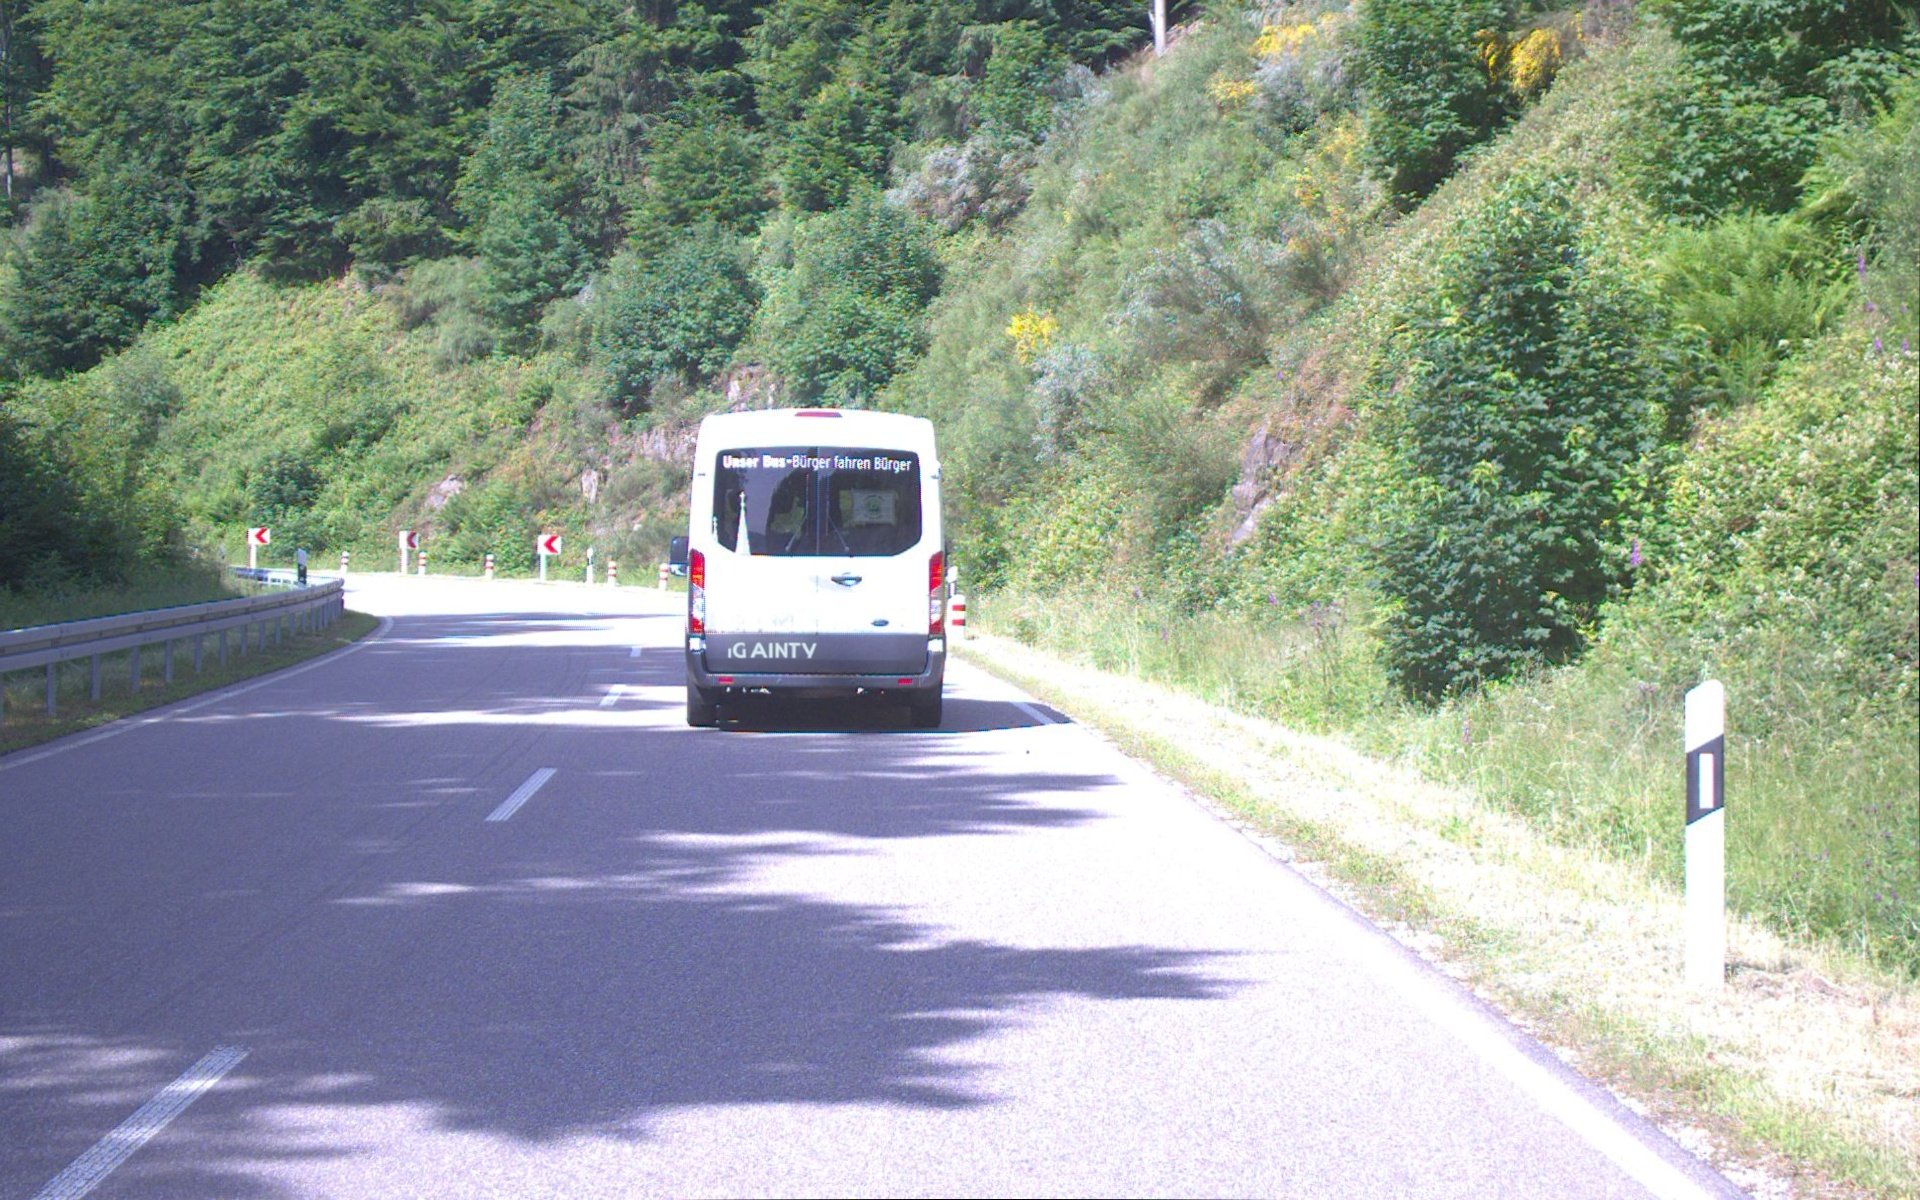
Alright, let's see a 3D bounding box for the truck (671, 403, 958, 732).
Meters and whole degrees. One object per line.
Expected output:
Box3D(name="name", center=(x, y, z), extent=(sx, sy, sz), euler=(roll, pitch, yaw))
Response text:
Box3D(name="truck", center=(-1.289, -0.291, 28.150), extent=(2.083, 2.451, 4.876), euler=(0, 1, -5))
